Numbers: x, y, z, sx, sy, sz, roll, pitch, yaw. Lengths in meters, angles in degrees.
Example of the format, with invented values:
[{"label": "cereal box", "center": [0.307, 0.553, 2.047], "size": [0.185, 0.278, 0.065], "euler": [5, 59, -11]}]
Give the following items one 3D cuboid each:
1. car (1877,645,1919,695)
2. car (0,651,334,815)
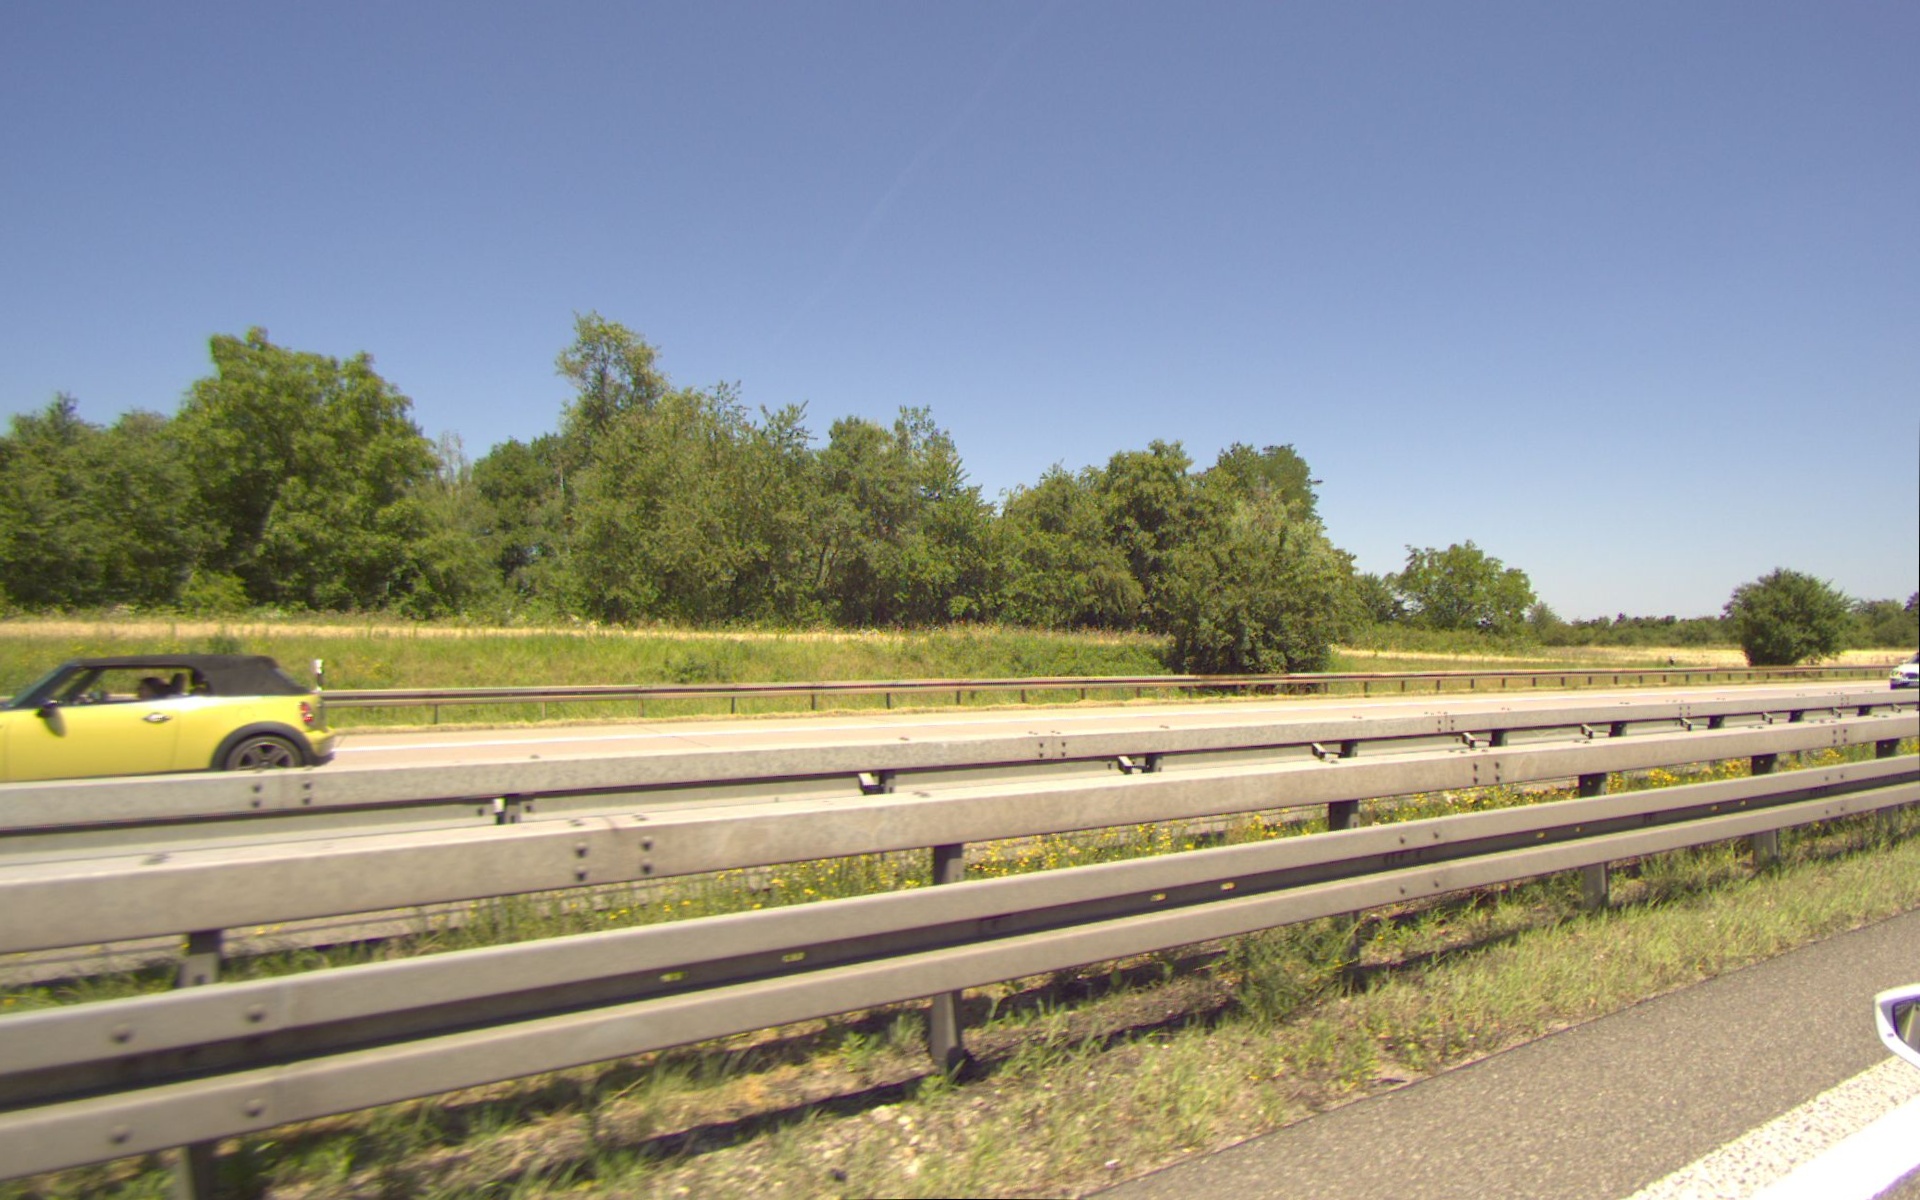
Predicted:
[{"label": "car", "center": [32.568, 2.311, 33.415], "size": [4.143, 1.586, 1.871], "euler": [2, -3, -30]}, {"label": "car", "center": [-8.343, 1.242, 10.037], "size": [3.436, 1.446, 1.575], "euler": [2, -3, -30]}]
